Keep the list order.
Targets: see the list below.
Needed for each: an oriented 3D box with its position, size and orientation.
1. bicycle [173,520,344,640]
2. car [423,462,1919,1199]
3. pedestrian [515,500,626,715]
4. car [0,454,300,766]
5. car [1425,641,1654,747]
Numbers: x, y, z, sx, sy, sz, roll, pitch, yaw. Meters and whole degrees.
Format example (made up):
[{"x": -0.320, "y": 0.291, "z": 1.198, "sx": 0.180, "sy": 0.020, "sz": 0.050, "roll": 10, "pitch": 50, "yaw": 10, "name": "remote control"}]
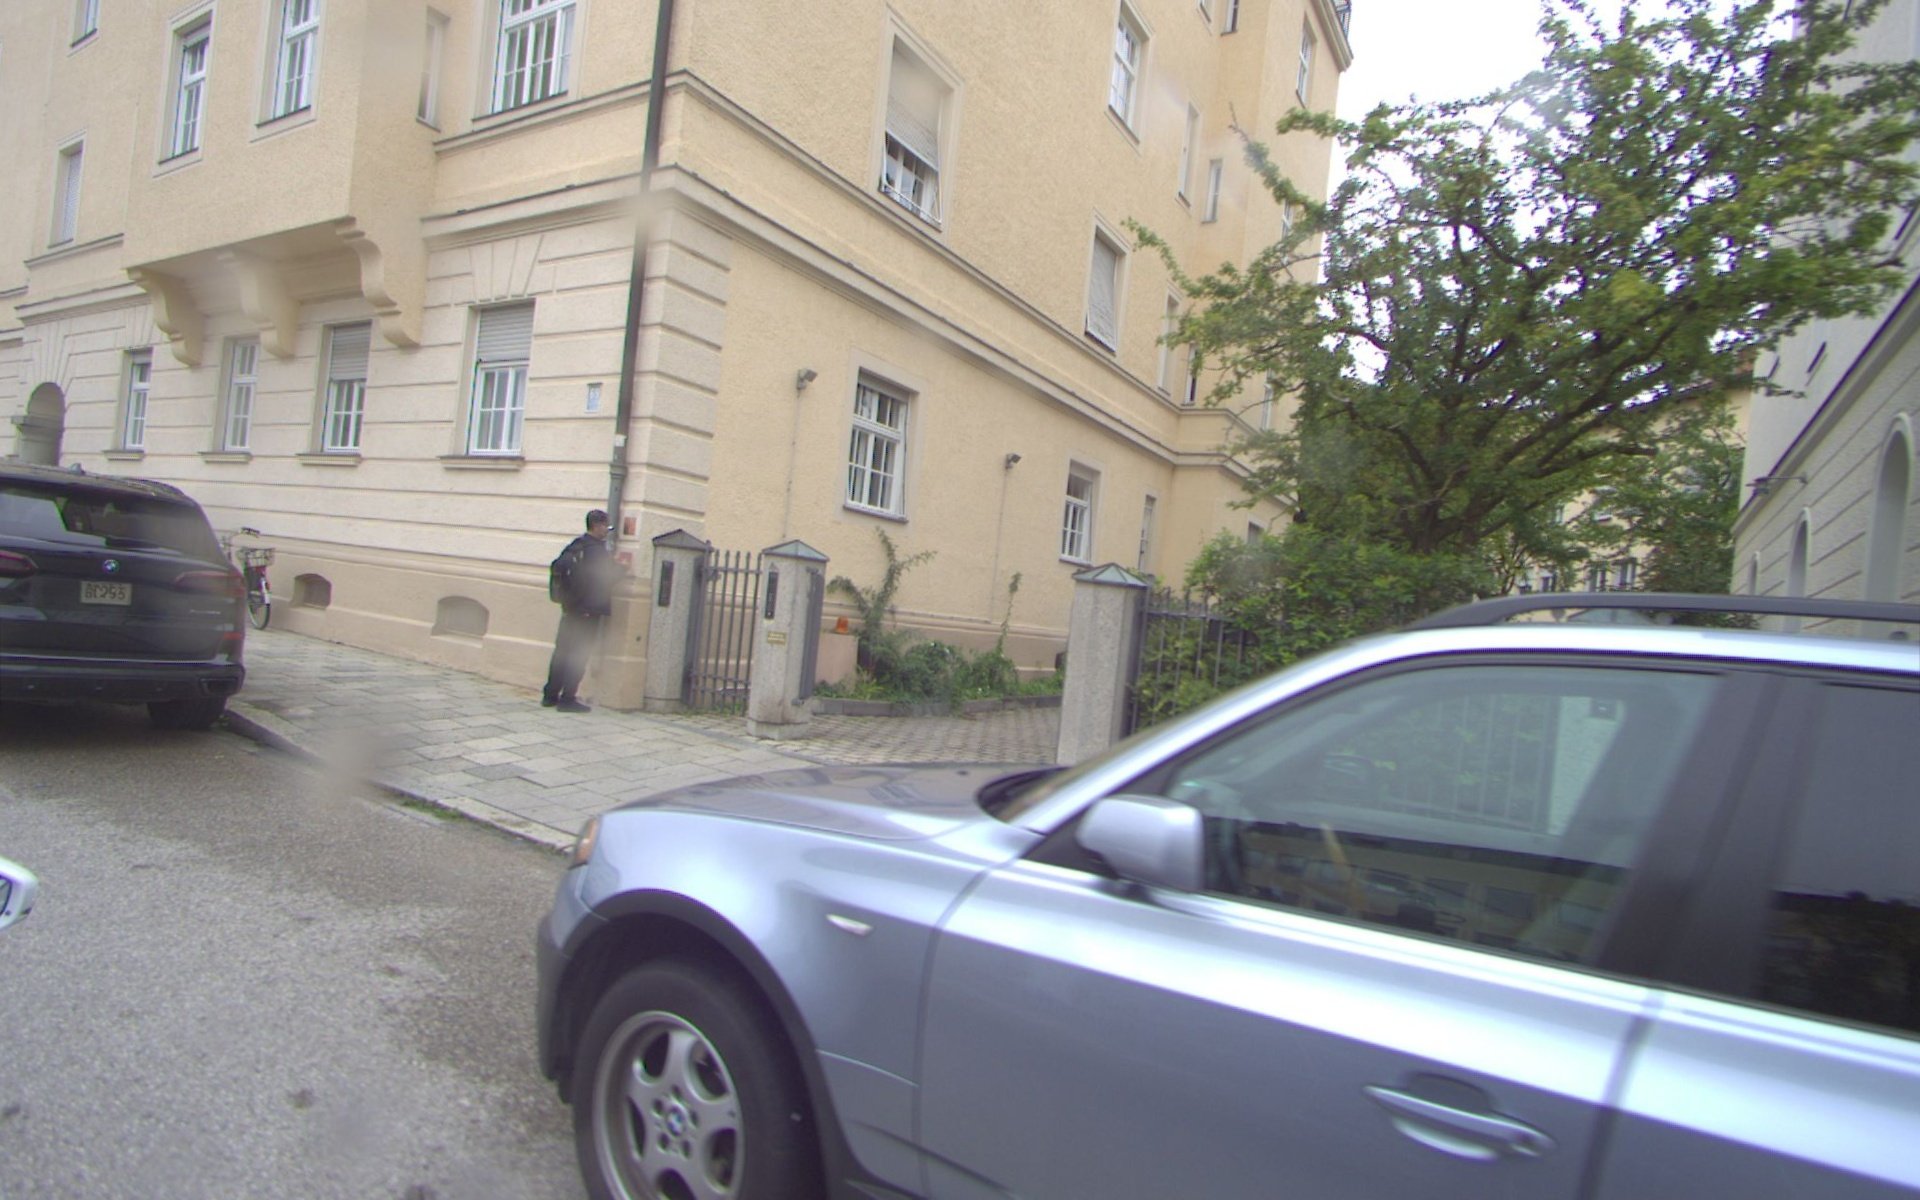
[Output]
[{"x": -8.799, "y": -0.270, "z": 12.575, "sx": 2.601, "sy": 1.261, "sz": 0.702, "roll": 6, "pitch": 0, "yaw": 32, "name": "bicycle"}, {"x": 1.046, "y": 0.790, "z": 2.088, "sx": 4.318, "sy": 1.749, "sz": 1.781, "roll": 6, "pitch": -2, "yaw": 33, "name": "car"}, {"x": -3.504, "y": 0.076, "z": 9.029, "sx": 0.677, "sy": 1.780, "sz": 0.689, "roll": 7, "pitch": -2, "yaw": -26, "name": "pedestrian"}, {"x": -7.060, "y": -0.125, "z": 7.310, "sx": 4.610, "sy": 1.750, "sz": 1.931, "roll": 7, "pitch": -2, "yaw": 33, "name": "car"}, {"x": 11.732, "y": 1.885, "z": 20.493, "sx": 3.620, "sy": 1.563, "sz": 1.673, "roll": 7, "pitch": 0, "yaw": -6, "name": "car"}]
